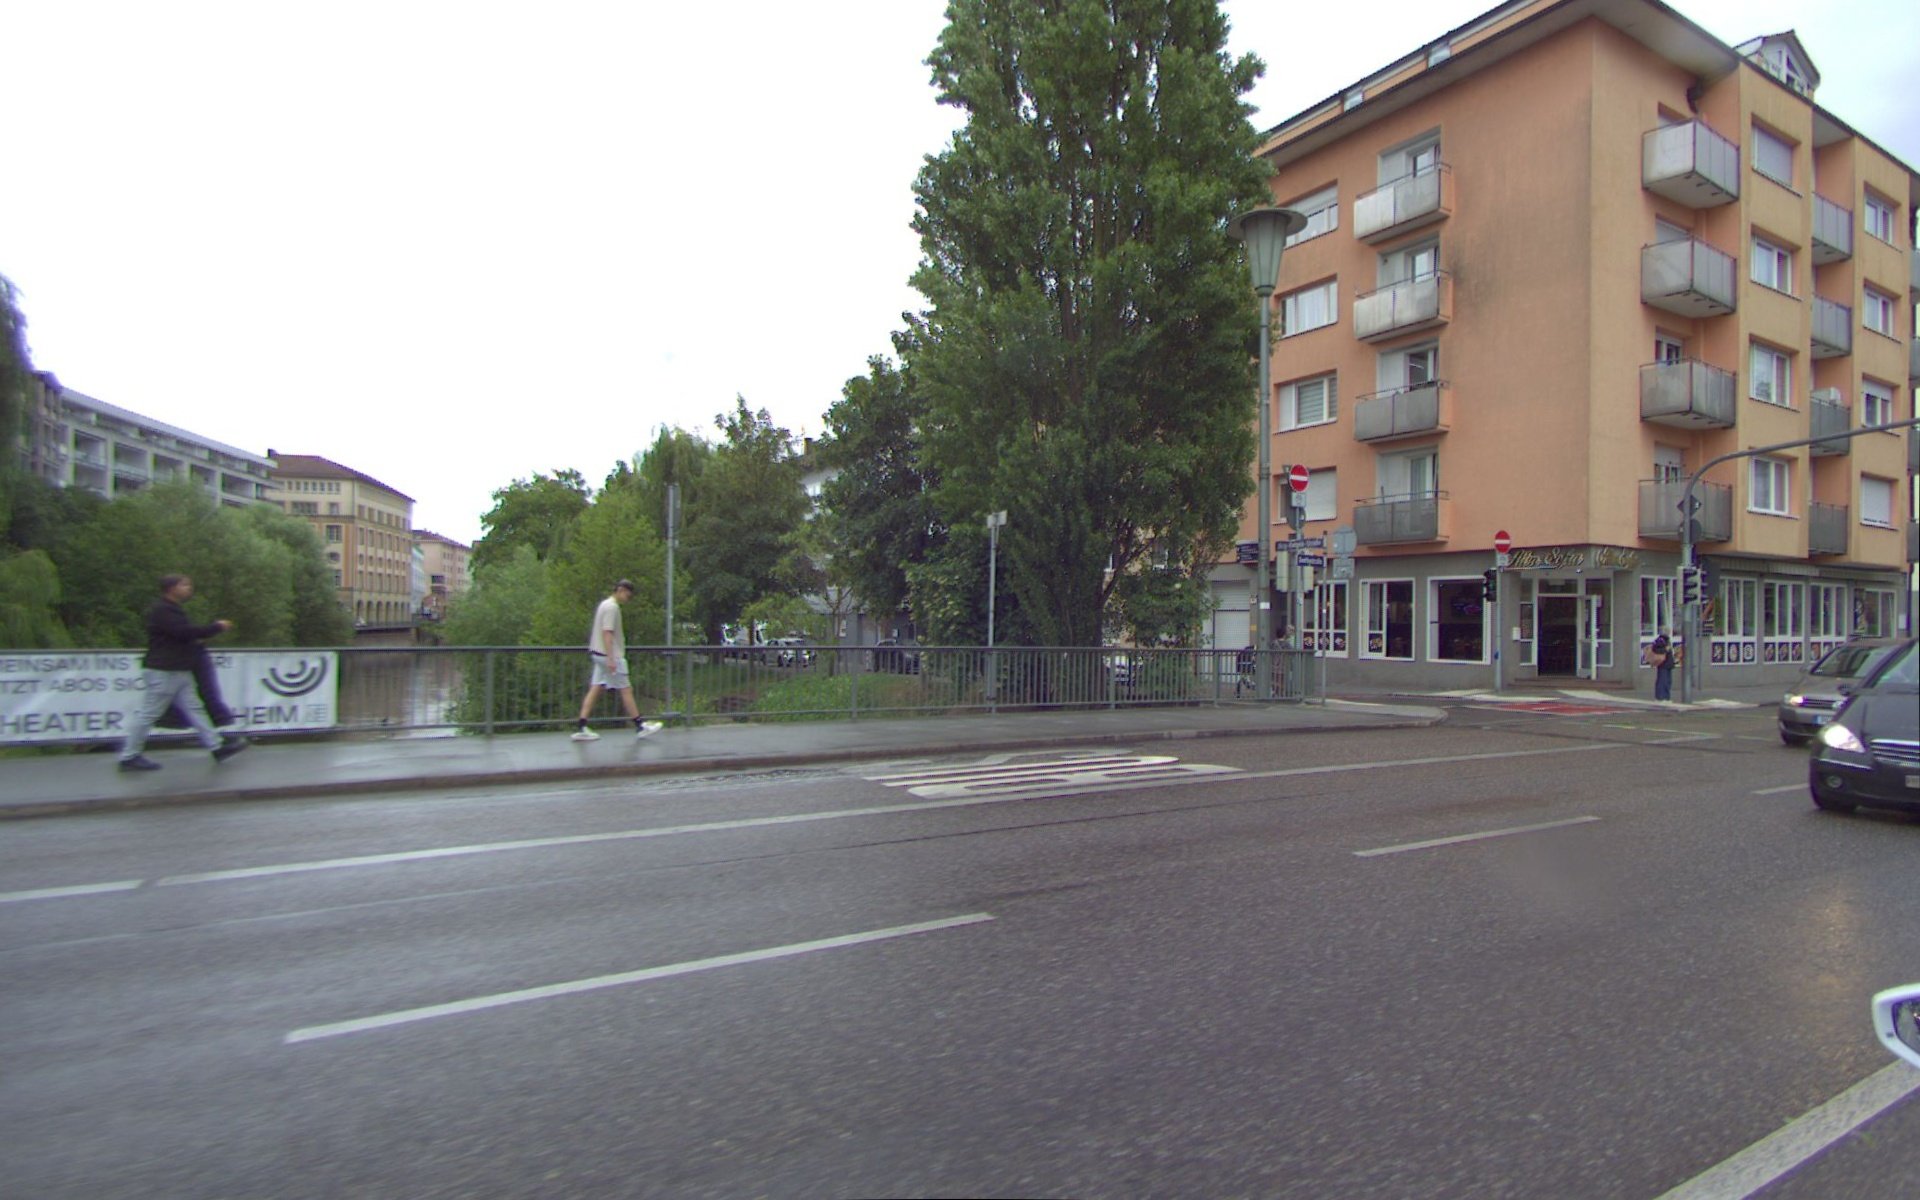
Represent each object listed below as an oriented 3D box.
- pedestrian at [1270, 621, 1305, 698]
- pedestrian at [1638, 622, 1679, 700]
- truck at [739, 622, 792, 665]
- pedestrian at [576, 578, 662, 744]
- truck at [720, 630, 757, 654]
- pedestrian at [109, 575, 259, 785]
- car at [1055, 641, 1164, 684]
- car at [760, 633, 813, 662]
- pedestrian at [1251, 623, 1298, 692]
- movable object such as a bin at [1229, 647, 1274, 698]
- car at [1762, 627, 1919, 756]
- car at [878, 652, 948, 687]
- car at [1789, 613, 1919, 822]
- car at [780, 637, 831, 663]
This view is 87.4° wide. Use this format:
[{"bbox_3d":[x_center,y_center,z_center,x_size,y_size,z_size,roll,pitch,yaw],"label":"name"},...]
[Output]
[{"bbox_3d":[7.396,1.331,22.690,0.609,1.685,0.800,1,-2,9],"label":"pedestrian"},{"bbox_3d":[16.023,1.385,23.036,0.640,1.750,0.528,0,-1,-27],"label":"pedestrian"},{"bbox_3d":[-13.136,2.854,67.631,2.082,2.663,4.620,1,0,-31],"label":"truck"},{"bbox_3d":[-3.937,0.675,11.568,0.802,1.818,0.794,1,0,-28],"label":"pedestrian"},{"bbox_3d":[-15.802,2.966,71.563,1.582,1.530,3.570,1,0,-31],"label":"truck"},{"bbox_3d":[-7.100,0.701,9.240,0.946,1.818,0.695,1,0,-28],"label":"pedestrian"},{"bbox_3d":[5.325,2.200,36.158,1.876,1.406,3.970,1,-2,-29],"label":"car"},{"bbox_3d":[-9.701,2.617,56.070,1.702,1.406,3.969,1,-1,-29],"label":"car"},{"bbox_3d":[6.829,1.245,21.824,0.784,1.464,0.654,2,-2,-6],"label":"pedestrian"},{"bbox_3d":[6.611,1.639,22.803,0.866,1.126,0.800,1,-3,9],"label":"movable object such as a bin"},{"bbox_3d":[13.529,1.212,14.590,3.874,1.623,1.728,1,-1,-31],"label":"car"},{"bbox_3d":[-2.333,3.336,49.051,1.876,1.406,3.969,1,0,-29],"label":"car"},{"bbox_3d":[9.160,0.936,8.782,3.874,1.622,1.728,1,-2,-31],"label":"car"},{"bbox_3d":[-9.684,3.095,62.744,1.876,1.406,3.969,1,0,-29],"label":"car"}]
